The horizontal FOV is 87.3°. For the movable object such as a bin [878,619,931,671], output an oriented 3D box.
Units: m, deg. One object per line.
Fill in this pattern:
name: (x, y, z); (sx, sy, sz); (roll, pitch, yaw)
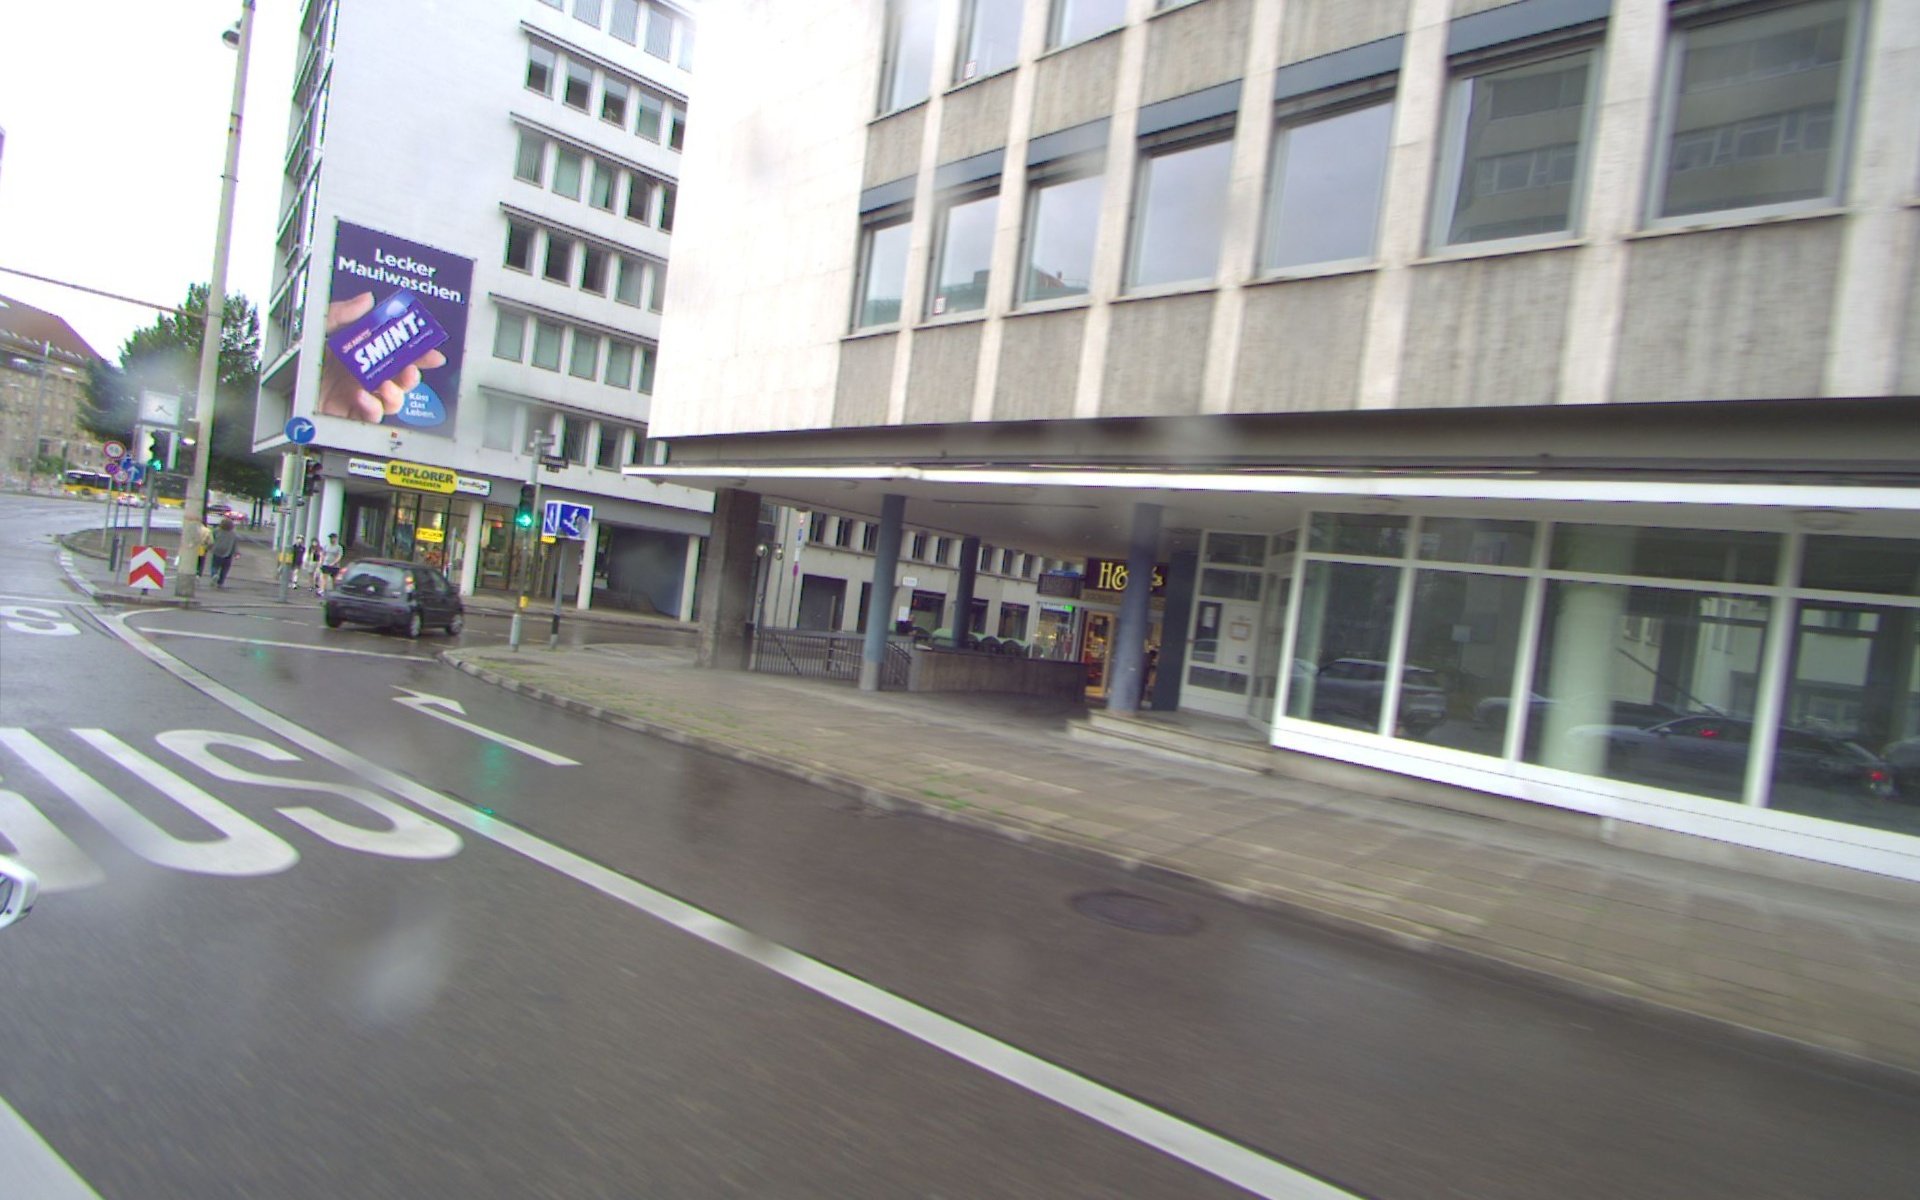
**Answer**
movable object such as a bin: (-1.758, 1.424, 31.799); (0.961, 1.447, 1.267); (7, 0, -38)

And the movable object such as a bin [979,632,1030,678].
movable object such as a bin: (1.552, 1.917, 35.044); (1.095, 1.399, 1.186); (7, 0, -39)

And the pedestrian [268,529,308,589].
pedestrian: (-20.033, -1.212, 29.990); (0.661, 1.675, 0.651); (7, 0, -17)

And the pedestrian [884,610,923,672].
pedestrian: (-1.684, 1.222, 29.919); (0.588, 1.752, 0.768); (7, 0, 44)

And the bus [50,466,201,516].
bus: (-125.419, -16.220, 151.759); (16.861, 4.109, 4.400); (9, -2, -33)

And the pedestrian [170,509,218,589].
pedestrian: (-18.611, -1.237, 24.446); (0.745, 1.820, 0.807); (7, 1, -40)

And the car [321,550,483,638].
car: (-11.417, -0.069, 20.899); (1.549, 1.445, 3.996); (7, -2, -9)

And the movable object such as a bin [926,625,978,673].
movable object such as a bin: (-0.265, 1.633, 33.537); (1.095, 1.399, 1.186); (7, 0, -39)

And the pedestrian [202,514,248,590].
pedestrian: (-18.750, -1.219, 25.665); (0.745, 1.820, 0.807); (7, 1, -40)

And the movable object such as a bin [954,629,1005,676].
movable object such as a bin: (0.671, 1.793, 34.325); (1.095, 1.399, 1.186); (7, 0, -39)

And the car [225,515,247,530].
car: (-93.497, -9.993, 129.933); (1.681, 1.503, 3.971); (8, -2, -30)

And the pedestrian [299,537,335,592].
pedestrian: (-19.470, -1.056, 30.470); (0.617, 1.561, 0.651); (7, 0, -17)

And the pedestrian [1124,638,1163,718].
pedestrian: (4.453, 1.877, 24.450); (0.697, 1.825, 0.801); (7, 0, 11)

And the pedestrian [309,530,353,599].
pedestrian: (-17.520, -0.974, 28.038); (0.661, 1.815, 0.770); (7, 0, -17)

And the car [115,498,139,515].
car: (-100.563, -11.277, 121.509); (1.879, 1.662, 3.959); (8, -1, -37)
